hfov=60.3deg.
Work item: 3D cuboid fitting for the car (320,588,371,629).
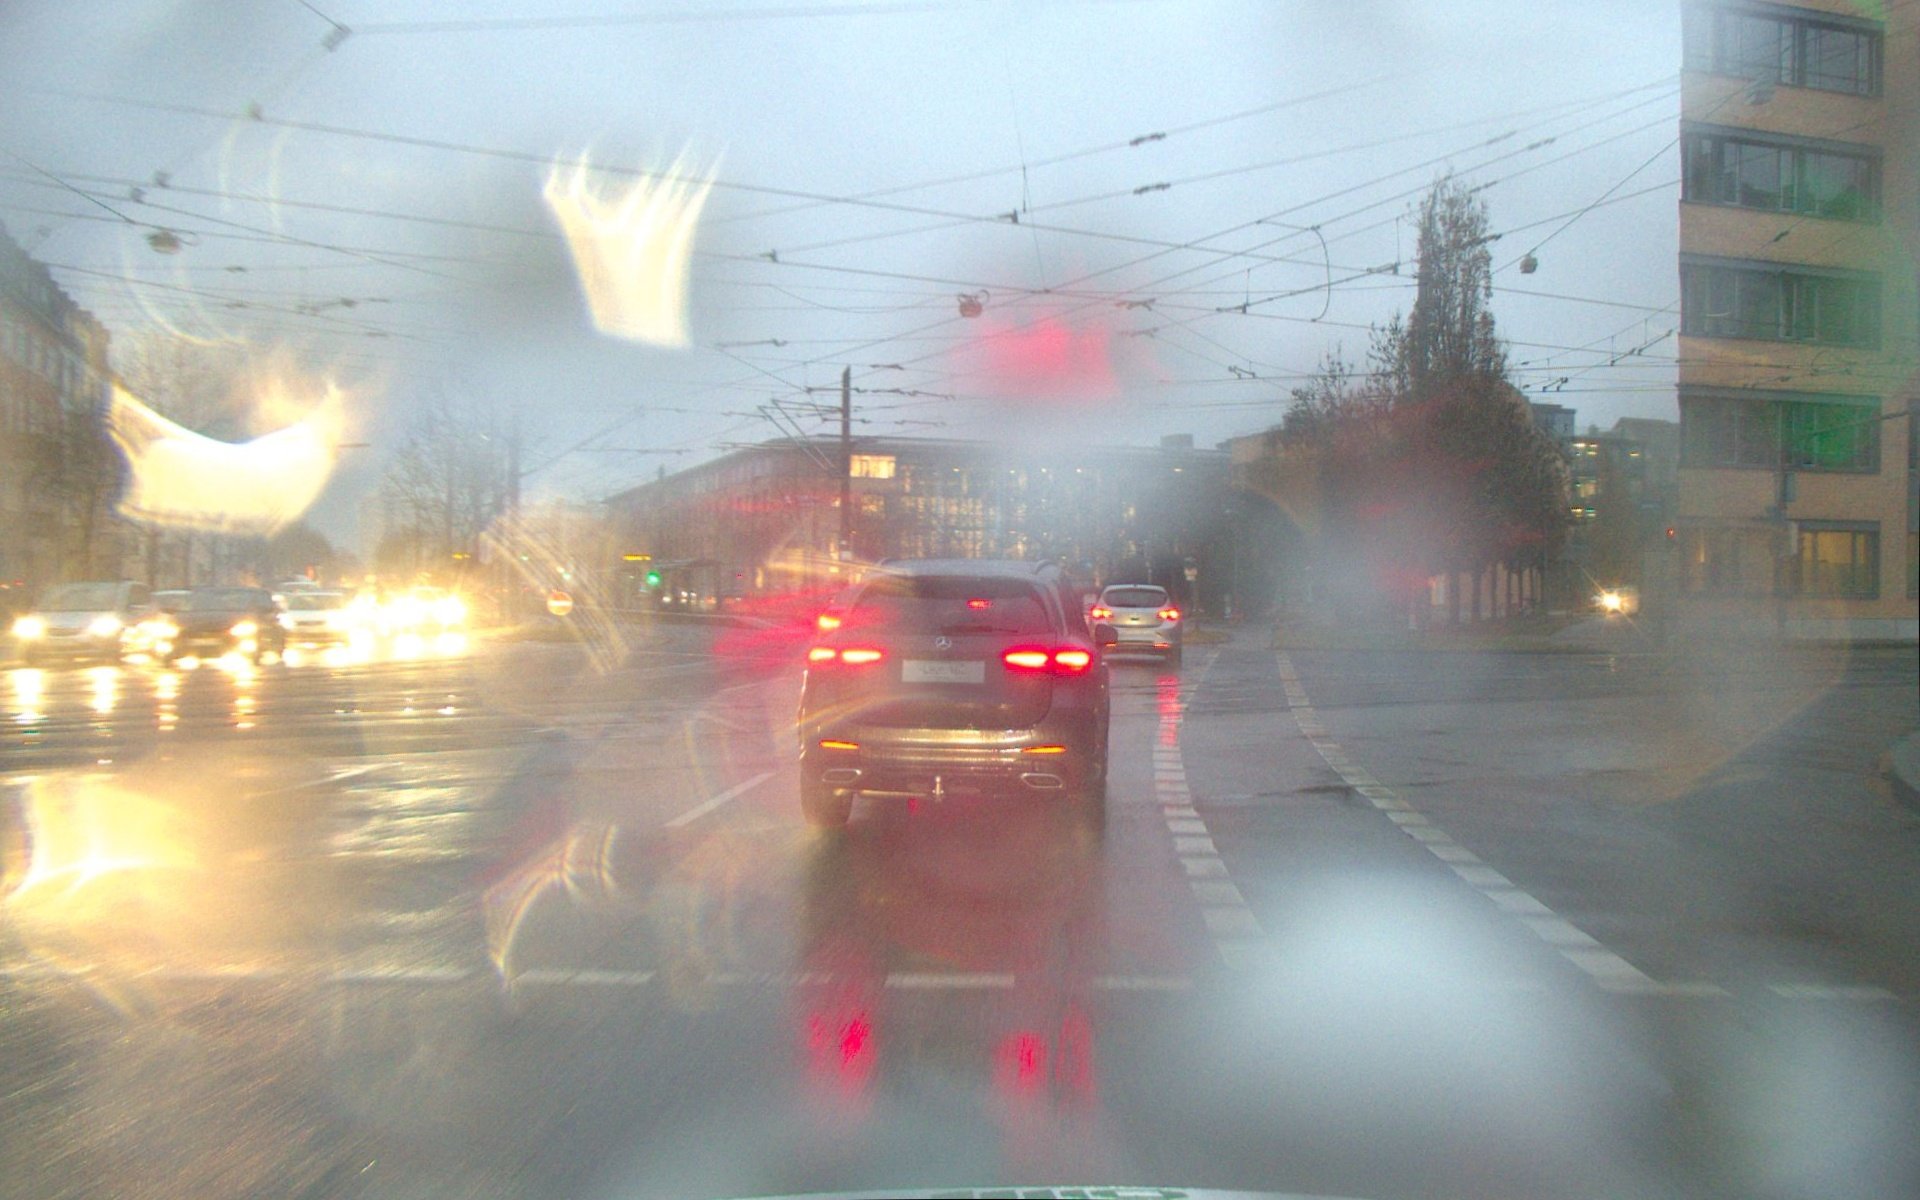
[{"bbox_3d":[-24.378,0.321,65.710,1.653,1.580,4.102,0,0,-17],"label":"car"}]

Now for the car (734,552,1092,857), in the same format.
[{"bbox_3d":[-0.120,0.545,10.982,1.949,1.644,4.002,0,0,4],"label":"car"}]

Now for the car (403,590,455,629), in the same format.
[{"bbox_3d":[-18.437,0.302,57.362,1.514,1.267,4.062,0,1,-21],"label":"car"}]

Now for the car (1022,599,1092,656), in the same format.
[{"bbox_3d":[2.956,0.813,51.189,1.952,1.646,4.000,0,0,0],"label":"car"}]

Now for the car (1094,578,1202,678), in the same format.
[{"bbox_3d":[3.665,0.478,31.840,1.951,1.796,4.003,0,0,8],"label":"car"}]

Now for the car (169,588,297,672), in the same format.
[{"bbox_3d":[-13.767,0.529,31.495,1.652,1.483,4.045,0,0,-16],"label":"car"}]

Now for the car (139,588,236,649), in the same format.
[{"bbox_3d":[-18.968,0.422,40.720,1.653,1.416,3.597,0,0,-17],"label":"car"}]

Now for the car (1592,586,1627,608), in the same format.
[{"bbox_3d":[36.799,-0.188,93.628,1.634,1.201,3.706,0,1,25],"label":"car"}]

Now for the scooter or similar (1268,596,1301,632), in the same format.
[{"bbox_3d":[11.326,0.480,57.740,1.133,1.253,0.481,0,0,-37],"label":"scooter or similar"}]

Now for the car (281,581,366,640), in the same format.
[{"bbox_3d":[-16.710,0.258,43.604,1.652,1.483,4.316,0,0,-15],"label":"car"}]

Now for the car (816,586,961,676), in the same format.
[{"bbox_3d":[-1.142,0.479,28.407,1.951,1.422,4.003,0,0,5],"label":"car"}]
